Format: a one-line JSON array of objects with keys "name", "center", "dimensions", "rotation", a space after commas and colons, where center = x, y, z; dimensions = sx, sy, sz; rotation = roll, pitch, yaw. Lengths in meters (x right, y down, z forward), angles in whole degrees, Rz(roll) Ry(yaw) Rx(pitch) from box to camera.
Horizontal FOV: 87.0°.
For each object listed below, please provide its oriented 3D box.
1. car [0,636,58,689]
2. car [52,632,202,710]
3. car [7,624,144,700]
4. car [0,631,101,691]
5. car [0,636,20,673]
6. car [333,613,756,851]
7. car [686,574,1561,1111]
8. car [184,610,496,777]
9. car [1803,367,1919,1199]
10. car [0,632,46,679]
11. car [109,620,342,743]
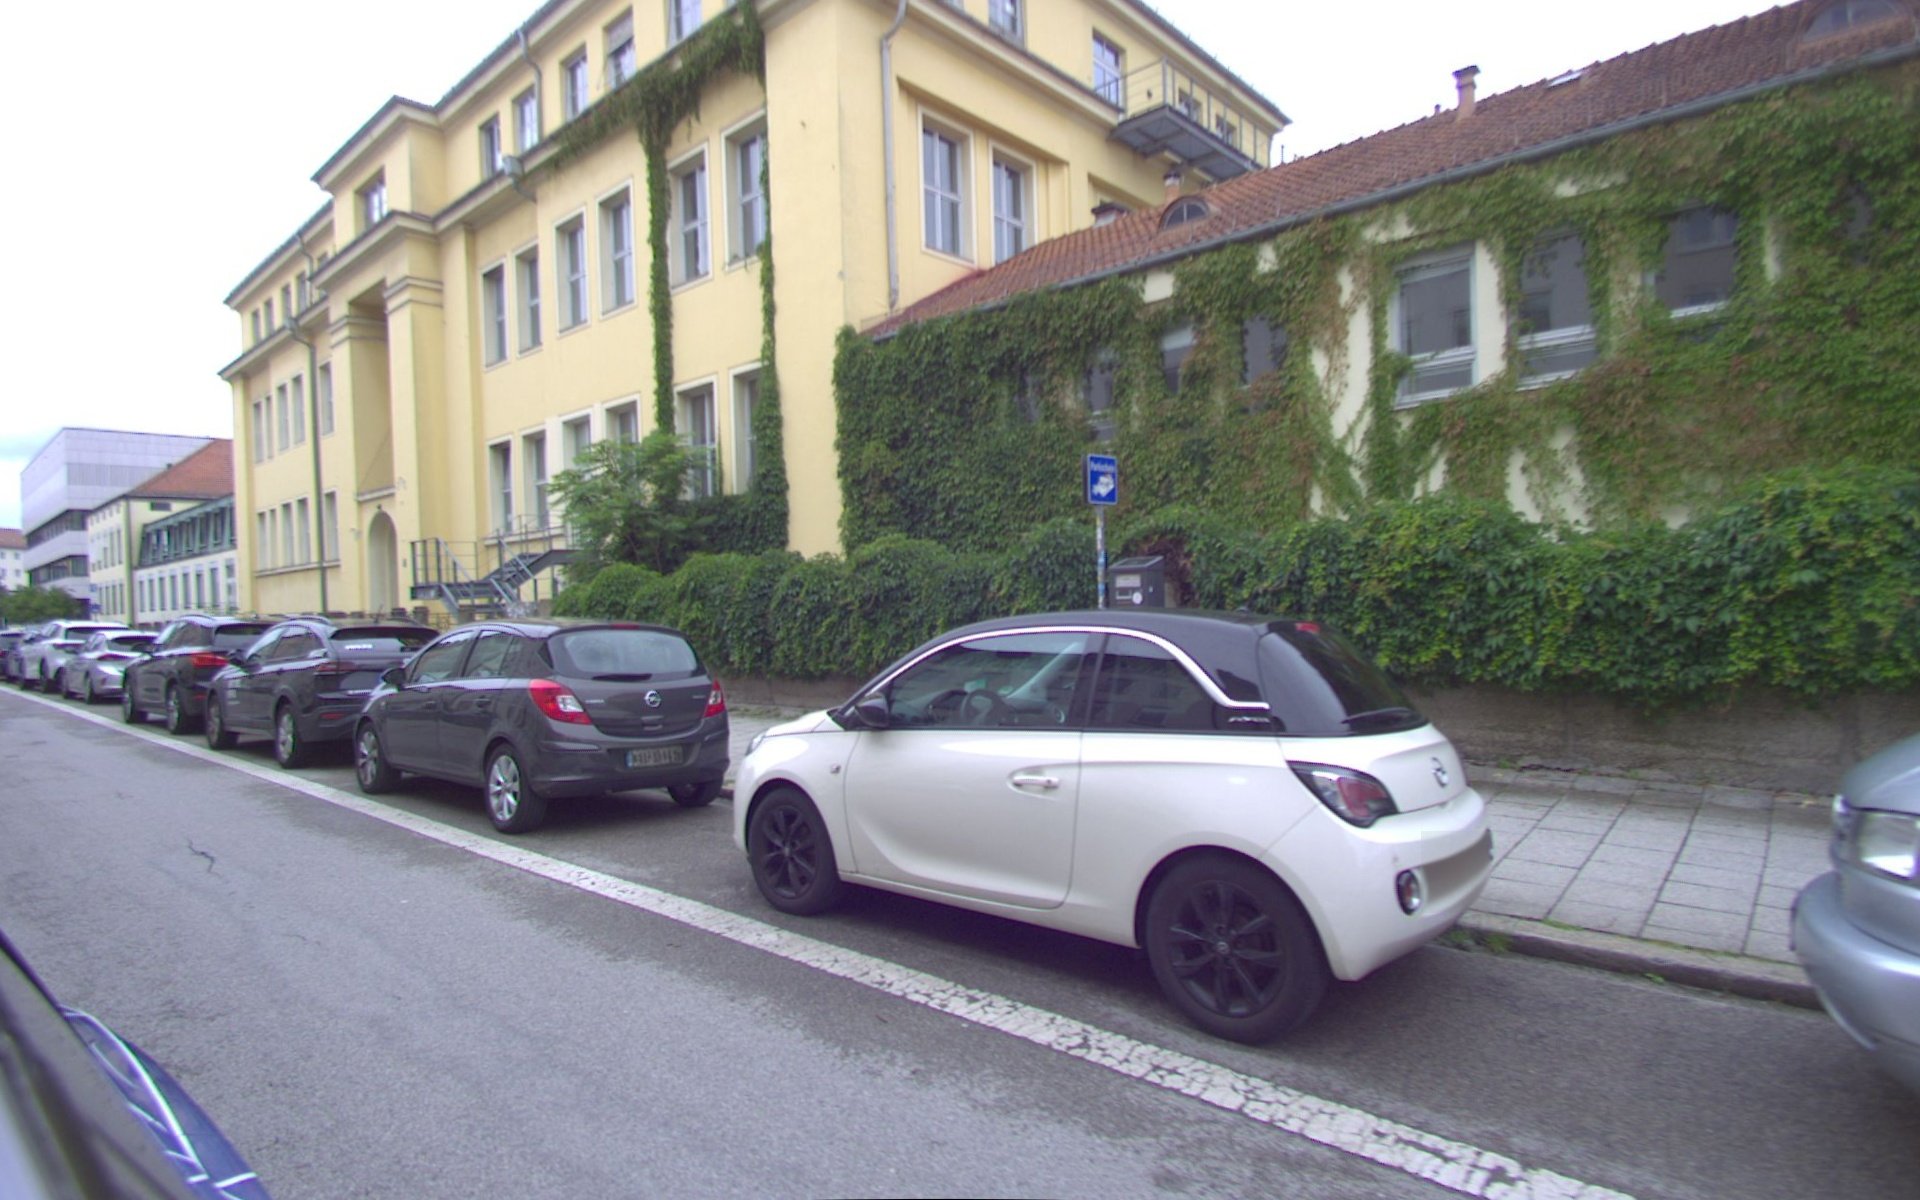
[{"name": "car", "center": [-28.704, 1.846, 30.591], "dimensions": [3.984, 1.507, 1.662], "rotation": [-2, -3, 42]}, {"name": "car", "center": [-16.901, 1.393, 20.481], "dimensions": [3.892, 1.437, 1.662], "rotation": [-2, -4, 41]}, {"name": "car", "center": [-21.011, 1.452, 23.998], "dimensions": [4.352, 1.646, 1.663], "rotation": [-2, -4, 39]}, {"name": "car", "center": [-25.076, 1.636, 27.734], "dimensions": [3.970, 1.516, 1.663], "rotation": [-2, -3, 40]}, {"name": "car", "center": [-37.930, 2.110, 39.209], "dimensions": [3.993, 1.409, 1.658], "rotation": [-2, -3, 40]}, {"name": "car", "center": [-3.484, 0.902, 8.158], "dimensions": [3.902, 1.467, 1.562], "rotation": [-2, -4, 41]}, {"name": "car", "center": [0.481, 0.749, 4.682], "dimensions": [3.728, 1.504, 1.562], "rotation": [-2, -3, 41]}, {"name": "car", "center": [-7.103, 0.962, 11.441], "dimensions": [4.145, 1.550, 1.763], "rotation": [-2, -4, 40]}, {"name": "car", "center": [4.337, 0.421, 1.396], "dimensions": [4.758, 1.890, 1.972], "rotation": [-2, -4, 43]}, {"name": "car", "center": [-32.626, 1.875, 34.503], "dimensions": [4.085, 1.539, 1.705], "rotation": [-2, -4, 42]}, {"name": "car", "center": [-10.826, 1.126, 14.818], "dimensions": [4.191, 1.550, 1.763], "rotation": [-2, -4, 40]}]
